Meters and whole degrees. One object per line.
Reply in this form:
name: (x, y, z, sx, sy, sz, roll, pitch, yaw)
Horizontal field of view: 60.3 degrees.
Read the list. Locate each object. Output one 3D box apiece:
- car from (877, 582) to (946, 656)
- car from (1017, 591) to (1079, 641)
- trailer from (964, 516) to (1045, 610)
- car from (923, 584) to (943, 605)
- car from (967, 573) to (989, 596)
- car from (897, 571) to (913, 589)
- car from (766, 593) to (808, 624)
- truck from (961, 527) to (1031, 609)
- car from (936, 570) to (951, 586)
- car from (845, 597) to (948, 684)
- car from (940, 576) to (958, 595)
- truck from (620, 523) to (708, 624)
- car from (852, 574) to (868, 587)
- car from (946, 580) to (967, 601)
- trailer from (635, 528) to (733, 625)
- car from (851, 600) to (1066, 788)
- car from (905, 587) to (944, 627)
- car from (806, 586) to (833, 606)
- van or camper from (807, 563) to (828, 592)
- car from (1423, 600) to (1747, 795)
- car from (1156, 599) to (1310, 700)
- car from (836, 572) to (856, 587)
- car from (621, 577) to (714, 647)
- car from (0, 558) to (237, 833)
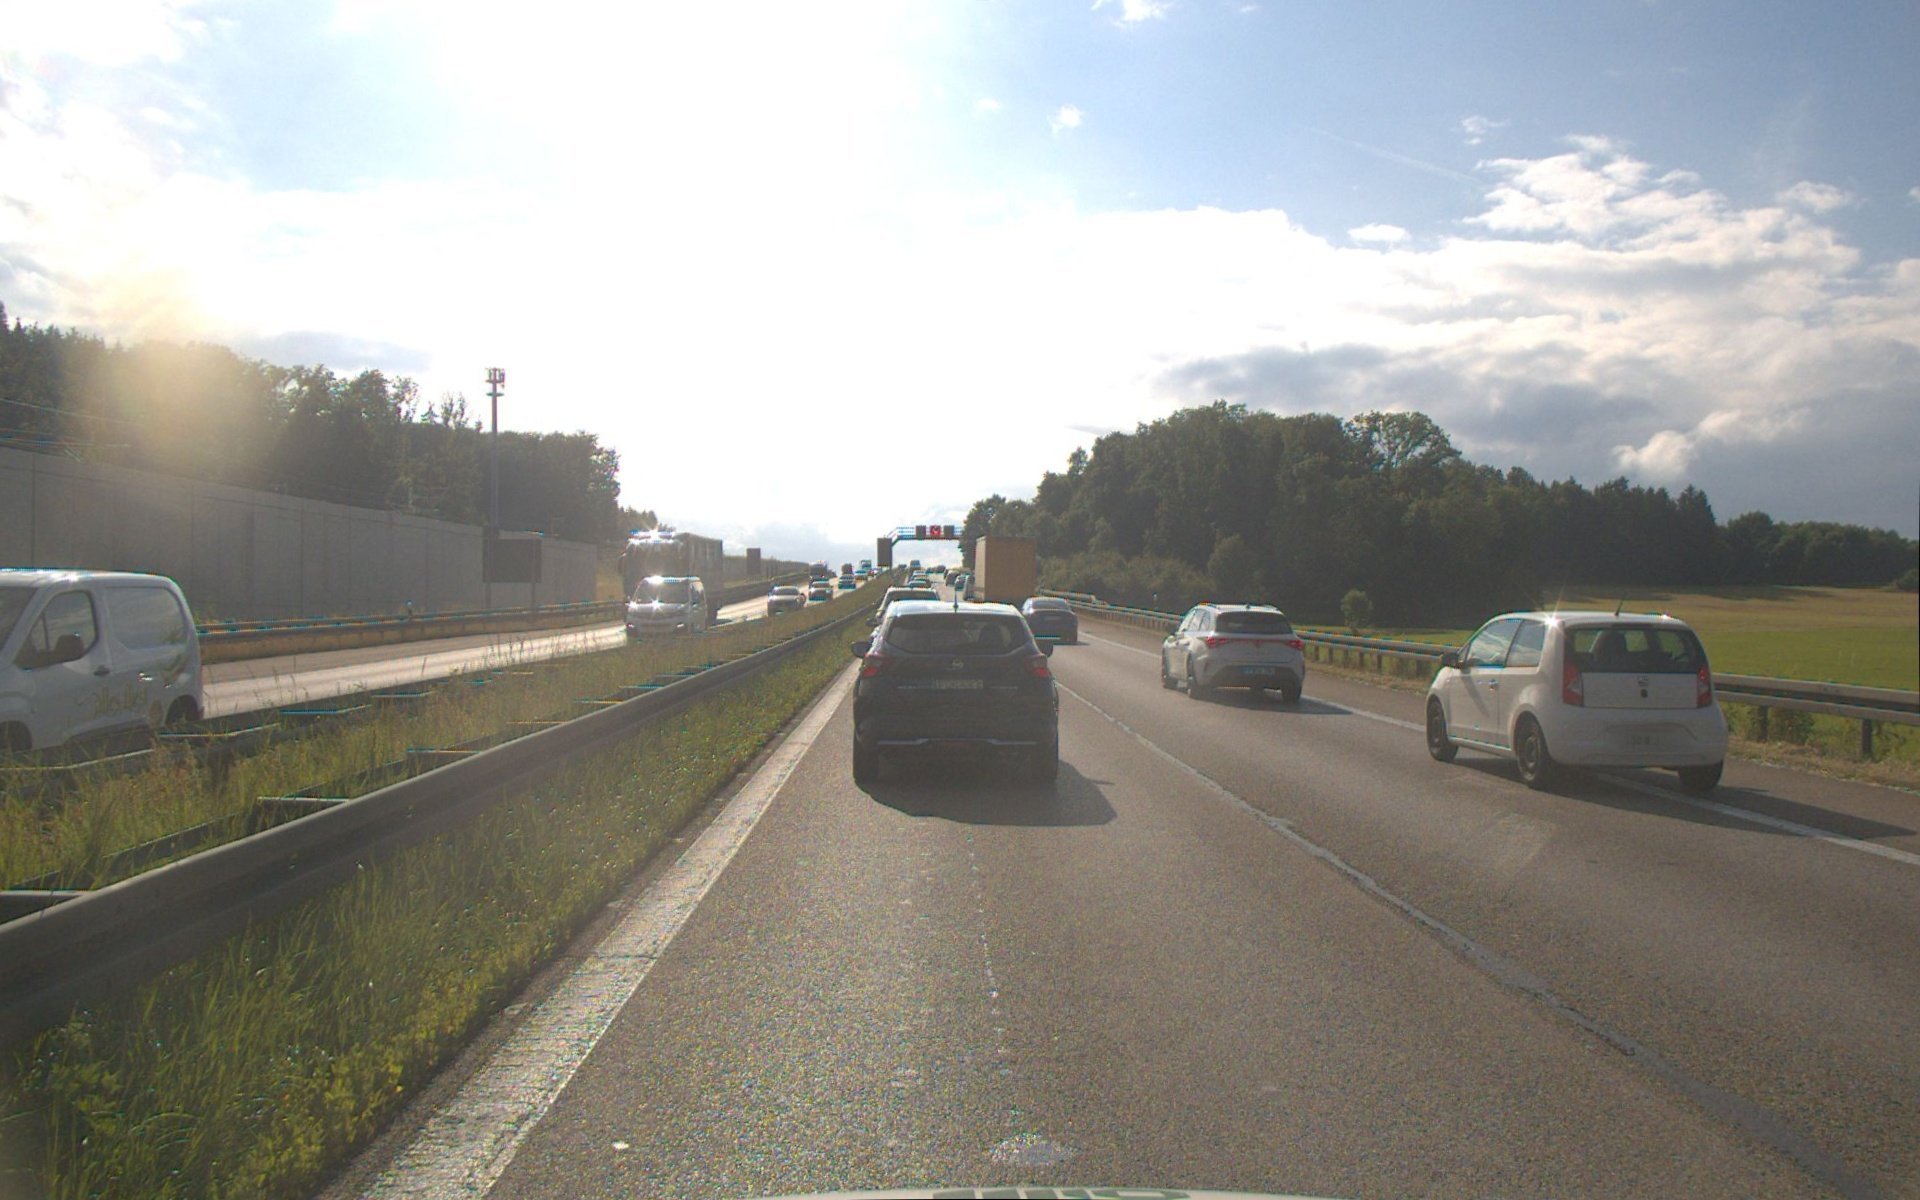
car: (-1.174, 0.470, 41.340, 1.640, 1.756, 3.595, 1, -1, 0)
car: (2.779, 0.515, 53.081, 1.711, 1.501, 4.146, 1, -1, 0)
trailer: (2.179, -1.783, 87.247, 3.477, 4.535, 12.716, 1, 0, -2)
car: (-2.332, -0.459, 142.940, 1.633, 1.785, 3.327, 1, -1, 0)
car: (1.421, -1.200, 130.588, 1.633, 1.785, 3.327, 1, -1, 0)
car: (-6.762, -2.420, 203.489, 1.953, 2.049, 3.998, 1, 0, -2)
car: (-9.494, 0.481, 90.975, 1.850, 1.660, 5.109, 1, 0, -1)
truck: (1.972, -1.741, 94.024, 3.510, 4.456, 6.685, 1, -1, -2)
car: (-2.214, -3.004, 224.173, 1.953, 2.049, 3.998, 1, 0, -2)
car: (-1.037, 0.670, 28.458, 1.640, 1.391, 3.595, 1, -1, 0)
car: (-1.238, -1.633, 185.419, 1.953, 2.049, 3.998, 1, 0, -2)
truck: (-12.798, -1.063, 72.136, 2.698, 4.162, 6.951, 0, -1, -1)
car: (-13.488, -2.675, 223.068, 1.953, 1.621, 4.447, 1, 0, -2)
car: (-0.361, -0.935, 164.581, 1.953, 2.049, 3.998, 1, 0, -2)
trailer: (-12.919, -0.985, 78.589, 2.703, 4.187, 12.900, 0, 0, -1)
car: (-0.005, 0.757, 14.713, 1.675, 1.451, 3.378, 1, -1, 0)
car: (-1.881, 0.368, 86.725, 1.953, 2.049, 3.998, 1, 0, -2)
car: (-11.049, -0.295, 129.978, 1.864, 1.490, 4.182, 1, 0, -2)
van or camper: (-16.674, -2.603, 193.861, 2.181, 3.133, 6.510, 1, 0, -2)
car: (5.503, 0.788, 14.987, 1.518, 1.521, 3.376, 1, 0, -3)
car: (4.278, 0.745, 26.517, 1.588, 1.471, 4.144, 1, -1, -3)
car: (-11.886, -2.084, 172.593, 1.953, 1.458, 4.447, 1, 0, -2)
car: (-8.590, 0.345, 48.927, 1.953, 1.916, 4.785, -2, 0, -1)
car: (-7.451, 0.646, 12.810, 1.822, 1.866, 4.279, 1, 0, -1)
